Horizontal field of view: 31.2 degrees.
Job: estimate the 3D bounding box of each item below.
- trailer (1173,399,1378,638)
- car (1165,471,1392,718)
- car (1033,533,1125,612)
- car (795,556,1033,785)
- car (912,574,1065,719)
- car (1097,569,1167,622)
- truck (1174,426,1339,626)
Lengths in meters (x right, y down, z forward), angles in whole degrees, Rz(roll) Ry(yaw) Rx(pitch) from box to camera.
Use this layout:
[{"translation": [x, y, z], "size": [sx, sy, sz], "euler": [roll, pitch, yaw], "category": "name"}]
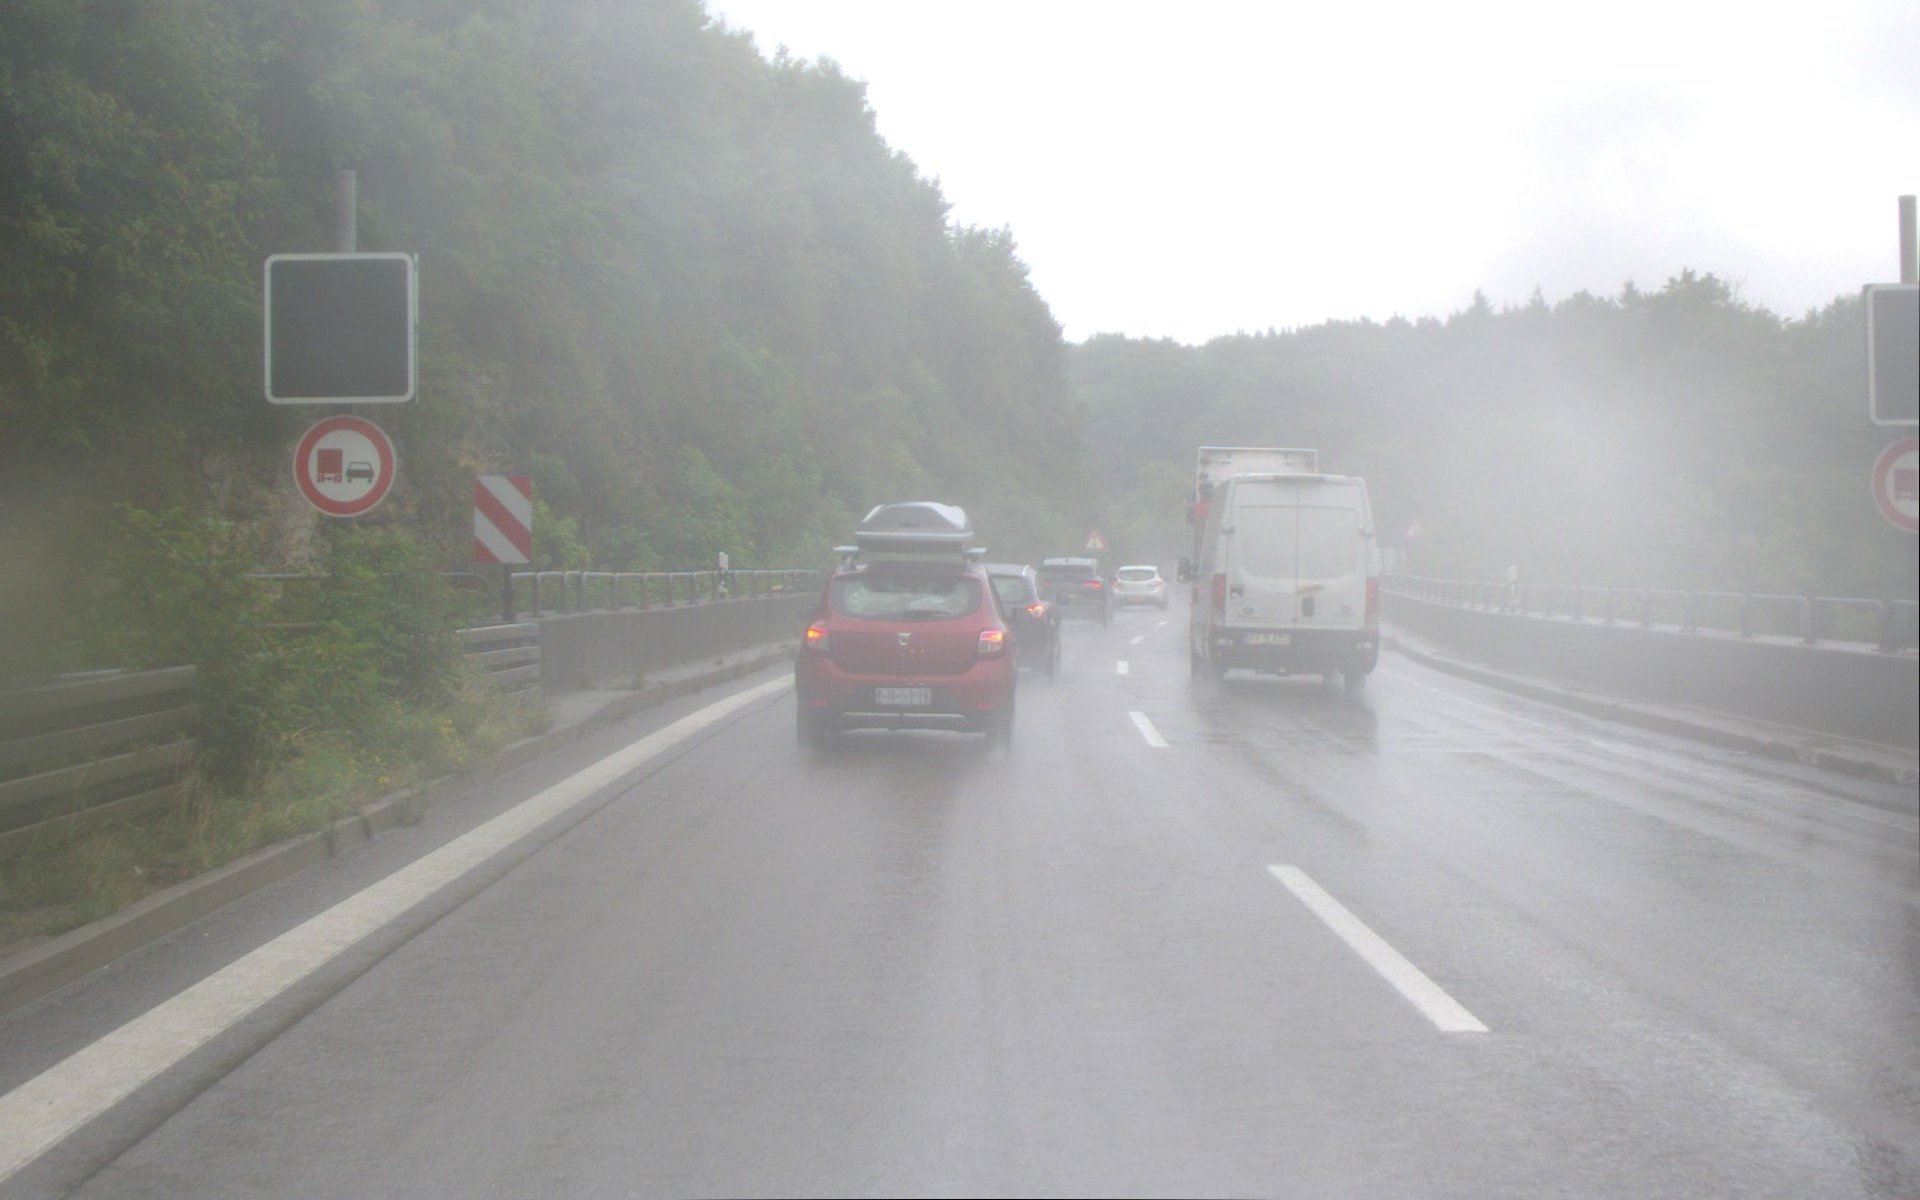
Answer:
[{"translation": [5.702, -1.428, 64.286], "size": [3.218, 3.985, 13.522], "euler": [0, 1, 3], "category": "trailer"}, {"translation": [3.861, -0.106, 42.968], "size": [2.206, 2.784, 7.382], "euler": [1, 1, 1], "category": "car"}, {"translation": [2.794, -0.635, 79.971], "size": [1.875, 1.700, 3.888], "euler": [-3, 0, 5], "category": "car"}, {"translation": [-0.388, 0.534, 28.370], "size": [1.758, 1.679, 4.000], "euler": [-3, 0, -1], "category": "car"}, {"translation": [0.380, 0.570, 44.432], "size": [1.833, 1.709, 3.645], "euler": [-3, 0, 1], "category": "car"}, {"translation": [5.617, -0.160, 111.740], "size": [1.994, 1.634, 3.999], "euler": [-3, 0, 6], "category": "car"}, {"translation": [6.069, -1.489, 71.163], "size": [3.220, 3.964, 5.438], "euler": [0, 0, 3], "category": "truck"}]
